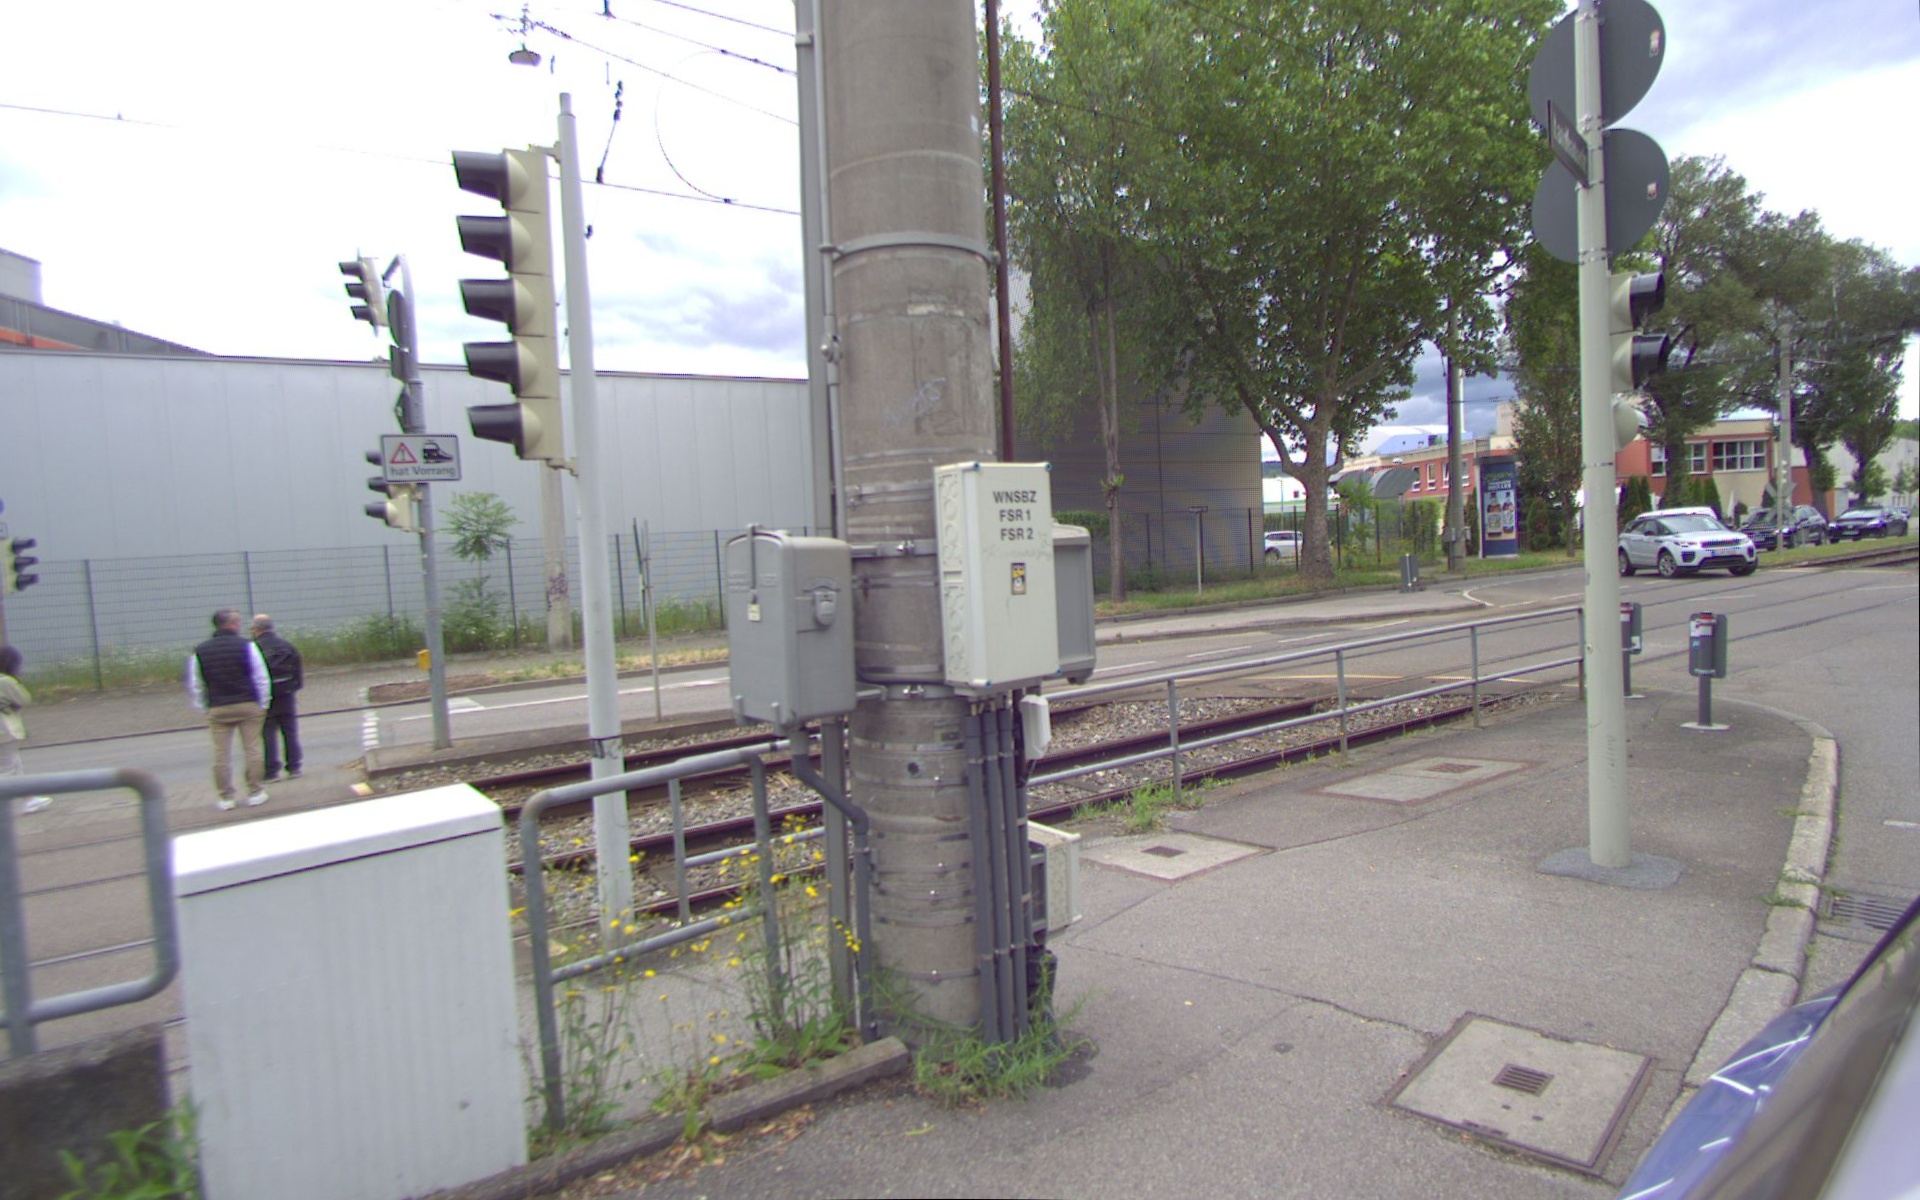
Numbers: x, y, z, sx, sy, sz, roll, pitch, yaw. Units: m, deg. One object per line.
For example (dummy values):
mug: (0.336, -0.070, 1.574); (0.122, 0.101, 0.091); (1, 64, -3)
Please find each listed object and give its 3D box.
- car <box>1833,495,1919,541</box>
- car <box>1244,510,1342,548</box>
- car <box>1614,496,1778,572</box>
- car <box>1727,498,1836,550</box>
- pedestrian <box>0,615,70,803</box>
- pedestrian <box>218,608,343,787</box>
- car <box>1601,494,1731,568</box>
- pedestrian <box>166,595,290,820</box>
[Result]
car: (39.155, -3.517, 43.062); (4.479, 1.574, 1.999); (-7, 3, -35)
car: (17.652, -3.749, 53.770); (4.413, 1.685, 2.003); (-4, 3, -5)
car: (19.128, -1.716, 26.555); (1.970, 1.710, 4.253); (-3, 2, 14)
car: (30.956, -2.877, 38.092); (4.479, 1.574, 1.999); (-7, 3, -35)
pedestrian: (-8.984, 1.021, 9.503); (0.724, 1.685, 0.681); (-6, 1, -34)
pedestrian: (-6.923, 0.973, 10.321); (0.677, 1.685, 0.729); (-5, 1, 34)
car: (22.633, -2.227, 32.377); (4.946, 2.026, 1.999); (-6, 3, -37)
pedestrian: (-6.510, 0.905, 8.997); (0.660, 1.843, 0.803); (-6, 3, -44)
